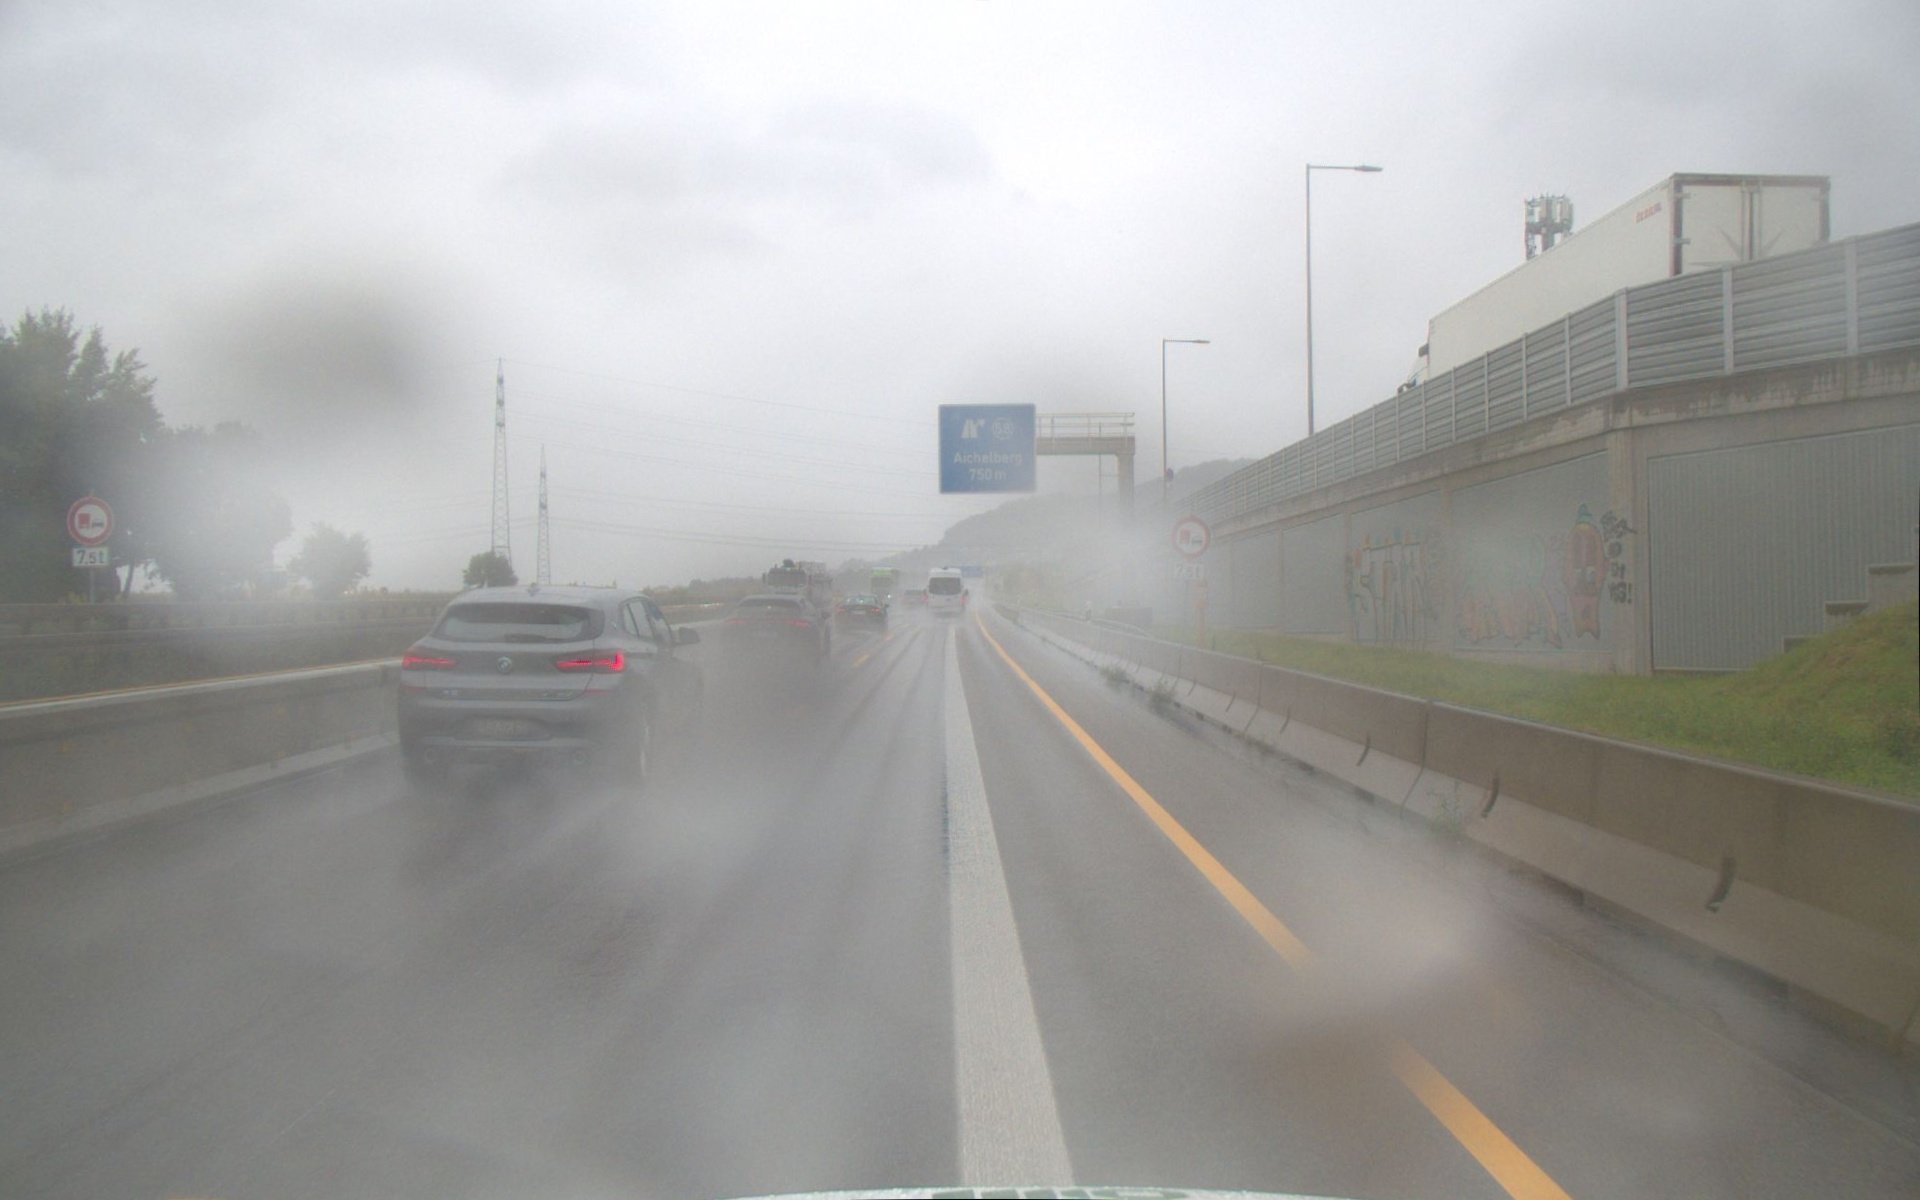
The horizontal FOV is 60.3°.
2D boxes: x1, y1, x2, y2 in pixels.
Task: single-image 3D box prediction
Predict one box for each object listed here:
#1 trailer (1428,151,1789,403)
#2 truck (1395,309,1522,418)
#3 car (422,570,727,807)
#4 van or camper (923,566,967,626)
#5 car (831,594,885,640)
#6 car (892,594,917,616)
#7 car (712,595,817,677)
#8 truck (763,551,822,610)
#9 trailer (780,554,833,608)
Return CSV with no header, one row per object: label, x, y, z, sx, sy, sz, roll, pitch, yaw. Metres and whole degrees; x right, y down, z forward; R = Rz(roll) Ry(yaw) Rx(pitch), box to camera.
trailer,12.407,-6.035,33.575,1.953,2.143,13.766,1,-1,0
truck,12.371,-5.845,41.310,1.953,2.049,4.058,1,-1,0
car,-2.997,0.659,13.848,1.667,1.626,4.841,1,-1,-3
van or camper,-0.767,-0.165,81.401,1.956,2.826,4.046,1,-1,-3
car,-3.606,0.572,58.608,1.808,1.517,4.259,-2,0,-4
car,-3.999,0.372,118.562,1.536,1.506,2.818,-2,-1,-6
car,-3.850,0.713,33.141,1.807,1.517,4.258,1,-1,-3
truck,-10.174,-1.161,101.210,2.585,3.406,9.552,1,0,0
trailer,-10.207,-1.247,110.816,2.607,3.421,9.714,1,0,0
